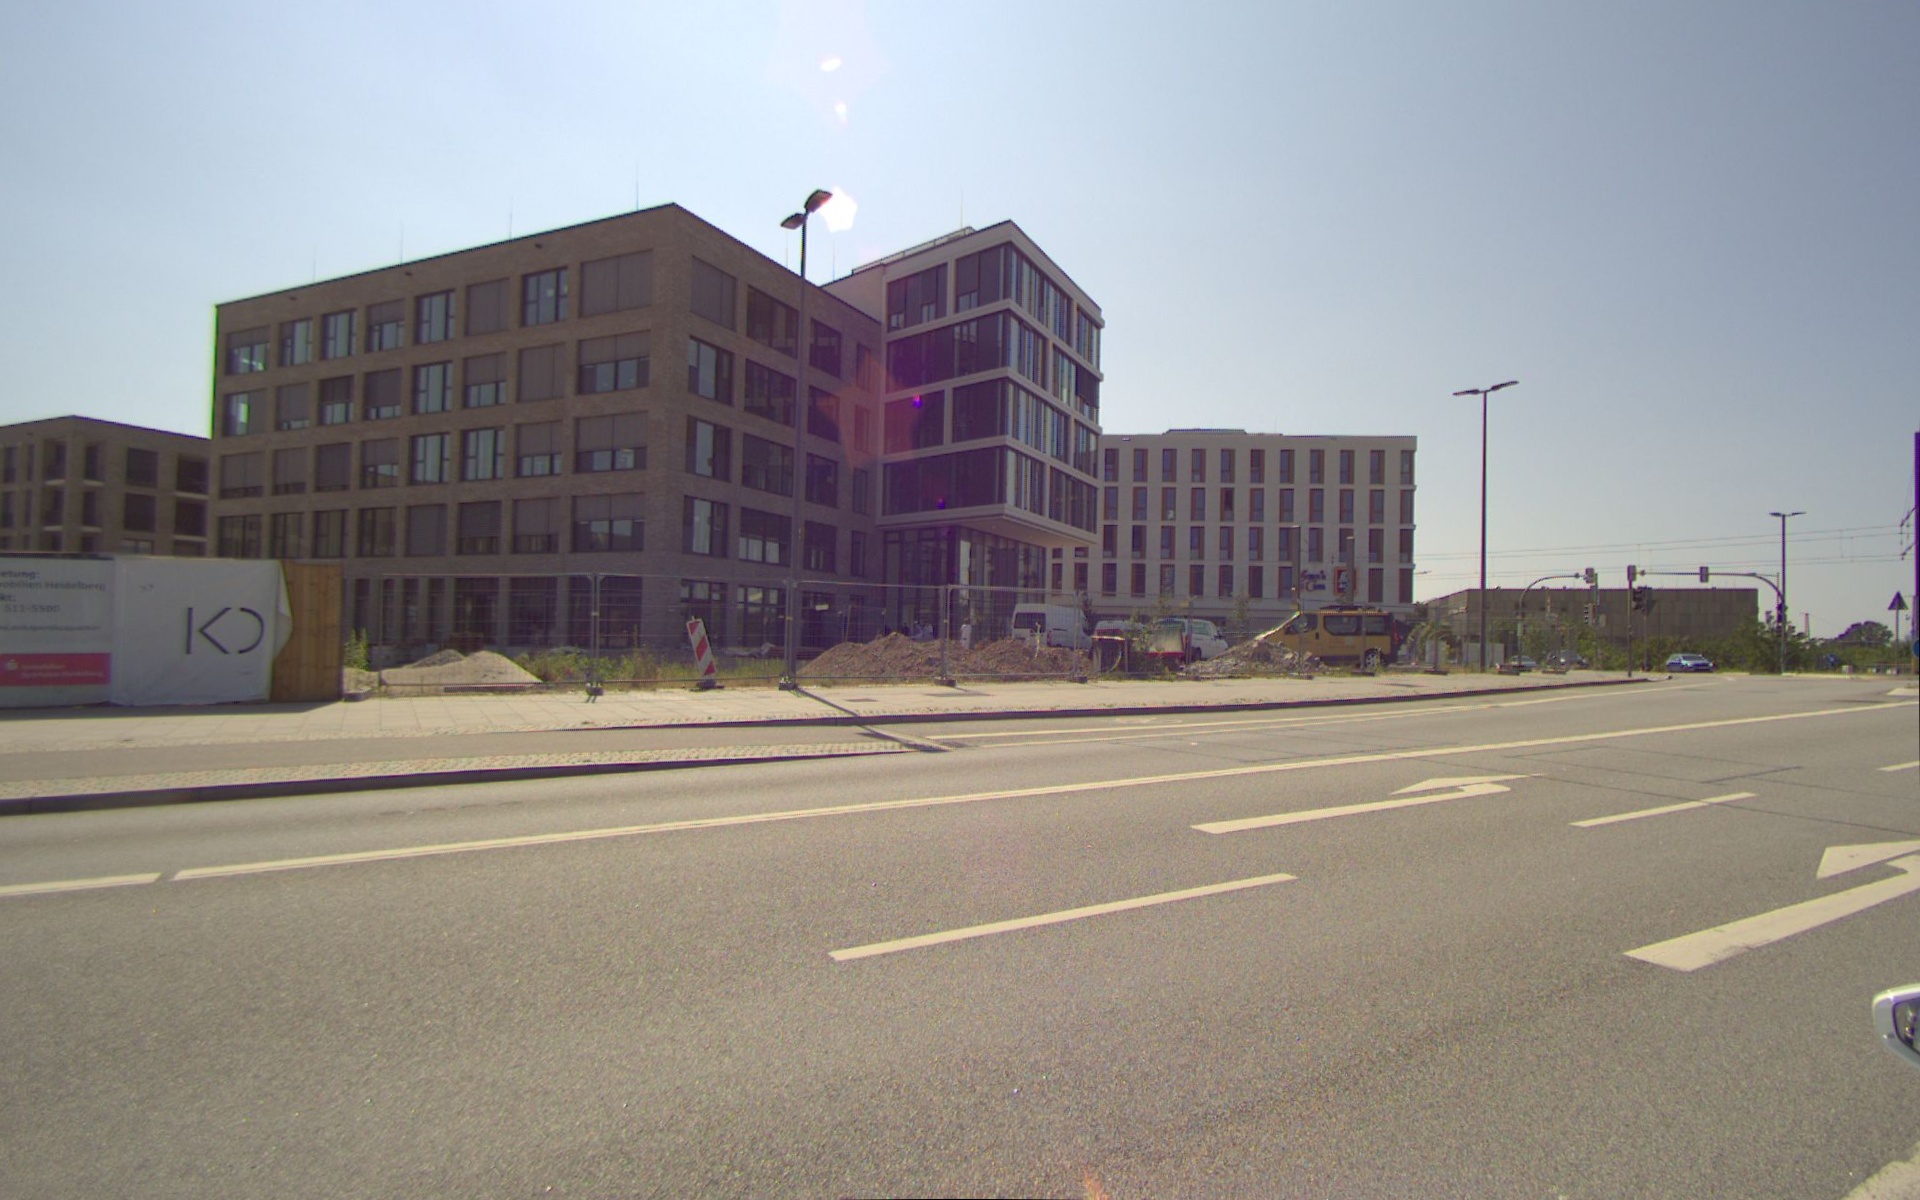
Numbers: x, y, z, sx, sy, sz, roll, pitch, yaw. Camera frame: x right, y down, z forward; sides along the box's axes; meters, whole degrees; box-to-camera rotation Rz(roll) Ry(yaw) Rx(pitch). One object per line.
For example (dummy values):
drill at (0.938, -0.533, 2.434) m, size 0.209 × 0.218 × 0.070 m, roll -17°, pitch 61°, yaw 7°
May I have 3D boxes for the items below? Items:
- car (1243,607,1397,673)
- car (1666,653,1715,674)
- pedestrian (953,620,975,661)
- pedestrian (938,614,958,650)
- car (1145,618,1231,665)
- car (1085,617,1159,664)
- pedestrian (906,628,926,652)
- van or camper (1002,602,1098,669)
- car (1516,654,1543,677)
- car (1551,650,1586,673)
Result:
car at (11.987, 1.304, 33.757) m, size 4.533 × 1.988 × 1.991 m, roll 2°, pitch 0°, yaw 9°
car at (52.217, 4.516, 71.883) m, size 1.787 × 1.348 × 4.000 m, roll 2°, pitch -2°, yaw 20°
pedestrian at (0.160, 1.736, 43.240) m, size 0.734 × 1.741 × 0.699 m, roll 2°, pitch 0°, yaw 16°
pedestrian at (-0.587, 1.549, 48.936) m, size 0.734 × 1.741 × 0.699 m, roll 2°, pitch 0°, yaw 16°
car at (9.637, 1.700, 42.178) m, size 1.841 × 1.797 × 4.637 m, roll 2°, pitch 0°, yaw 36°
car at (7.085, 1.729, 43.670) m, size 1.760 × 1.881 × 3.841 m, roll 2°, pitch 0°, yaw 33°
pedestrian at (-2.059, 1.883, 47.383) m, size 0.734 × 1.041 × 0.699 m, roll 2°, pitch 0°, yaw 16°
van or camper at (4.111, 1.563, 45.078) m, size 2.273 × 2.772 × 4.975 m, roll 2°, pitch 0°, yaw 32°
car at (46.975, 5.395, 82.917) m, size 1.541 × 1.608 × 3.477 m, roll 2°, pitch 0°, yaw 23°
car at (44.323, 4.447, 73.225) m, size 1.646 × 1.496 × 3.405 m, roll 0°, pitch -1°, yaw 22°
